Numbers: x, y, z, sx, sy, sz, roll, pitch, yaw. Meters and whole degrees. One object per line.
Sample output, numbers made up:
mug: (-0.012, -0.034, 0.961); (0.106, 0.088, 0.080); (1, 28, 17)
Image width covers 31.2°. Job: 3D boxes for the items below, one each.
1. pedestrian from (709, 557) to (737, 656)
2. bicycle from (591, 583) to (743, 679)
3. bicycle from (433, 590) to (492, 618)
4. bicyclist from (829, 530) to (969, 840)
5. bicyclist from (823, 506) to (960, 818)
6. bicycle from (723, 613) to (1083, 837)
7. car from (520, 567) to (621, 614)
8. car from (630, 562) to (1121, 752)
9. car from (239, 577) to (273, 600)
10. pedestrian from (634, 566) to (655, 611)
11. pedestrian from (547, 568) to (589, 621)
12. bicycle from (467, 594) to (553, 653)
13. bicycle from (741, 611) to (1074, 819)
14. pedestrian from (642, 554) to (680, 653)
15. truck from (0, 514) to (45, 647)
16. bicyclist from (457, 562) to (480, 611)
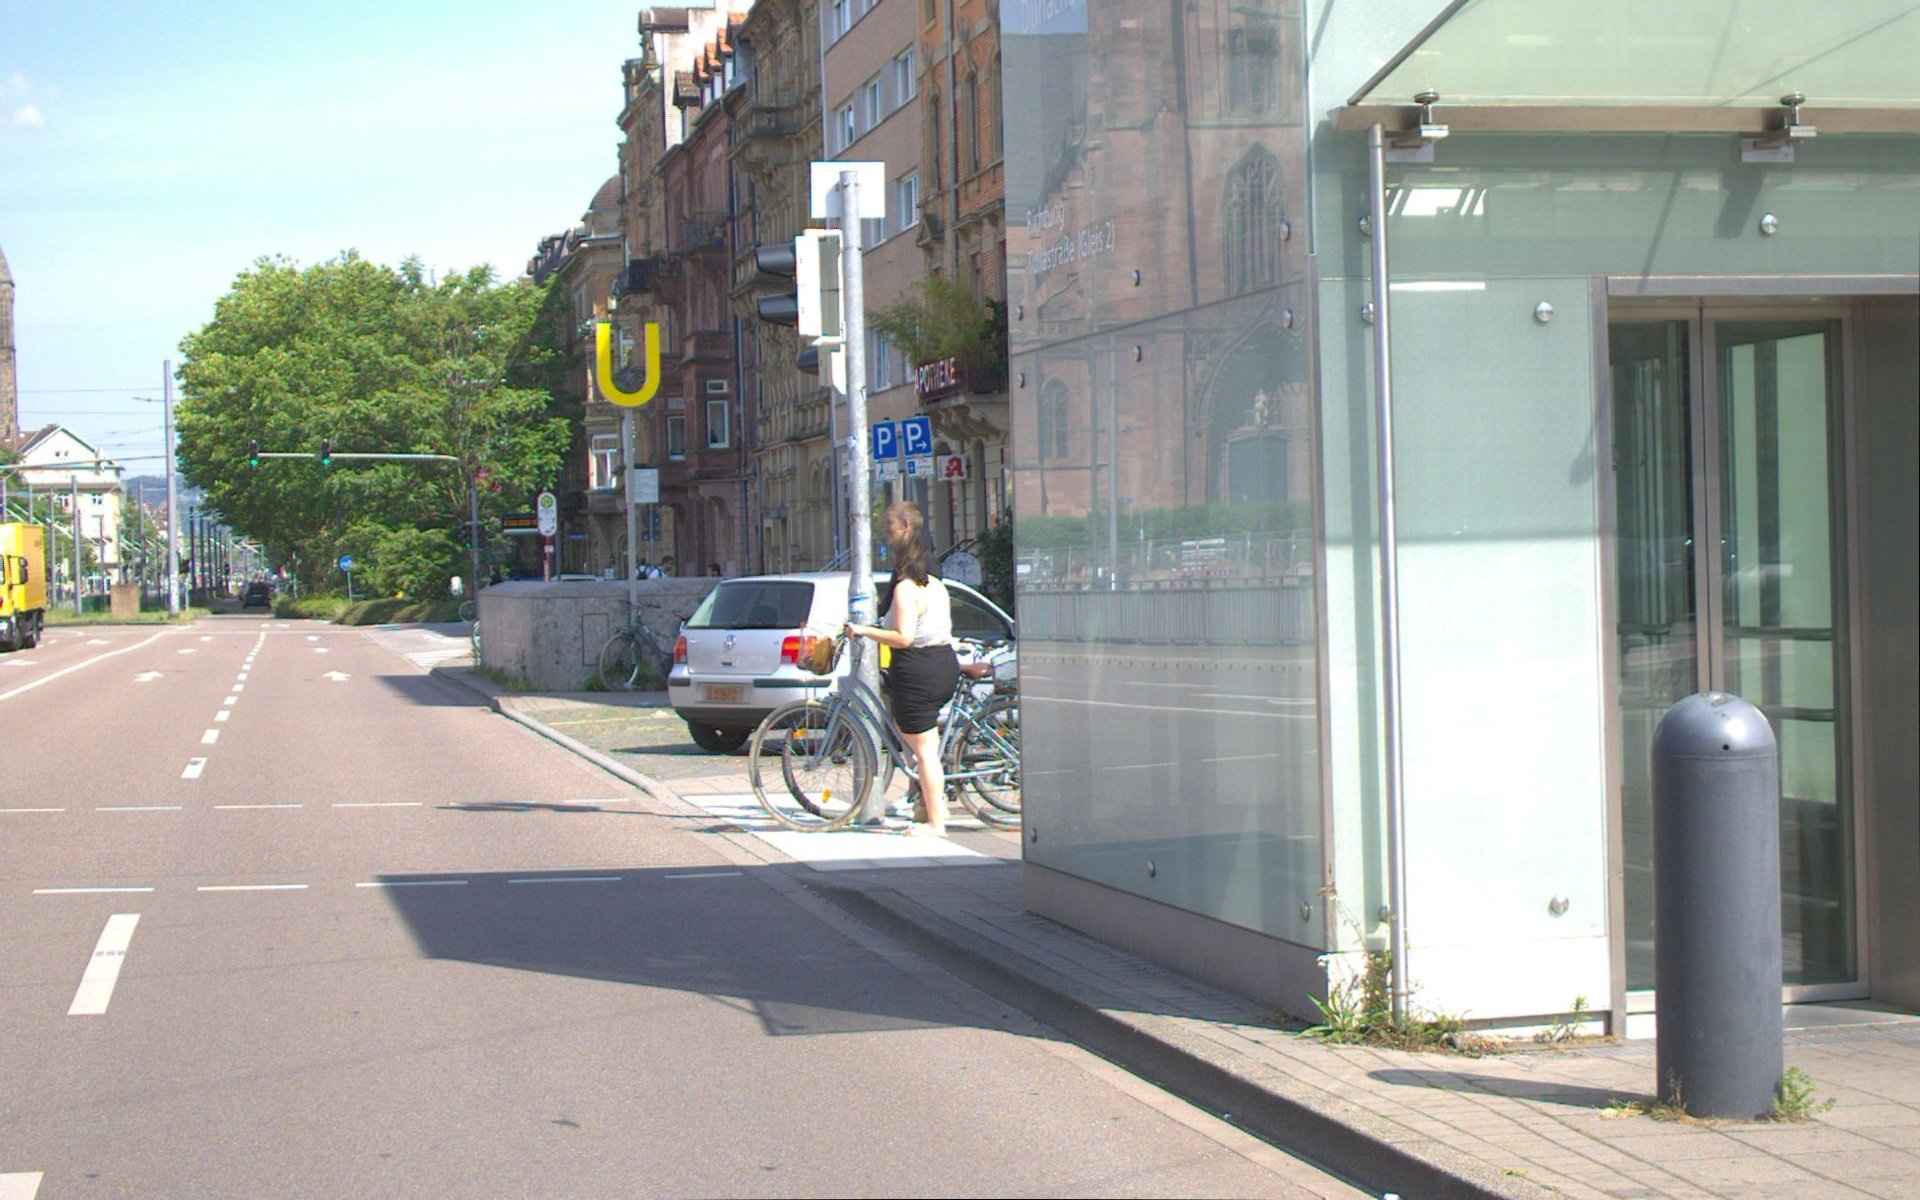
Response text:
pedestrian: (-4.007, 0.106, 58.099); (0.371, 1.660, 0.525); (-2, 0, -11)
bicycle: (-3.543, 0.368, 41.546); (1.742, 1.090, 0.597); (-2, 1, -11)
bicycle: (-16.313, 0.134, 112.753); (1.818, 0.860, 0.483); (-2, 3, -26)
bicyclist: (-0.309, 0.431, 17.793); (0.611, 1.567, 0.733); (-1, 0, 7)
bicyclist: (-0.391, 0.342, 19.459); (0.615, 1.729, 0.584); (-1, 0, -17)
bicycle: (-0.285, 0.650, 18.093); (1.791, 1.126, 0.754); (-1, 0, 7)
car: (-15.930, -0.396, 140.465); (3.986, 1.743, 2.001); (-2, 3, -9)
car: (-0.621, 0.436, 28.053); (1.812, 1.435, 3.990); (0, 0, 40)
car: (-43.650, -0.720, 213.190); (1.898, 1.371, 3.816); (-2, 1, -13)
pedestrian: (-10.199, -0.371, 111.083); (0.532, 1.402, 0.491); (-2, 3, -17)
pedestrian: (-10.097, -0.143, 88.475); (0.947, 1.320, 0.823); (-2, 1, -13)
bicycle: (-7.944, 0.408, 60.709); (1.460, 0.972, 0.416); (-2, 3, -11)
bicycle: (-0.300, 0.640, 19.617); (1.790, 1.126, 0.584); (-1, 0, -17)
pedestrian: (-5.048, 0.060, 58.068); (0.552, 1.660, 0.525); (-2, 0, -11)
truck: (-25.683, -0.442, 90.154); (2.542, 3.287, 9.031); (-4, 1, -12)
bicyclist: (-16.127, -0.450, 112.817); (0.639, 1.586, 0.483); (-2, 3, -26)
